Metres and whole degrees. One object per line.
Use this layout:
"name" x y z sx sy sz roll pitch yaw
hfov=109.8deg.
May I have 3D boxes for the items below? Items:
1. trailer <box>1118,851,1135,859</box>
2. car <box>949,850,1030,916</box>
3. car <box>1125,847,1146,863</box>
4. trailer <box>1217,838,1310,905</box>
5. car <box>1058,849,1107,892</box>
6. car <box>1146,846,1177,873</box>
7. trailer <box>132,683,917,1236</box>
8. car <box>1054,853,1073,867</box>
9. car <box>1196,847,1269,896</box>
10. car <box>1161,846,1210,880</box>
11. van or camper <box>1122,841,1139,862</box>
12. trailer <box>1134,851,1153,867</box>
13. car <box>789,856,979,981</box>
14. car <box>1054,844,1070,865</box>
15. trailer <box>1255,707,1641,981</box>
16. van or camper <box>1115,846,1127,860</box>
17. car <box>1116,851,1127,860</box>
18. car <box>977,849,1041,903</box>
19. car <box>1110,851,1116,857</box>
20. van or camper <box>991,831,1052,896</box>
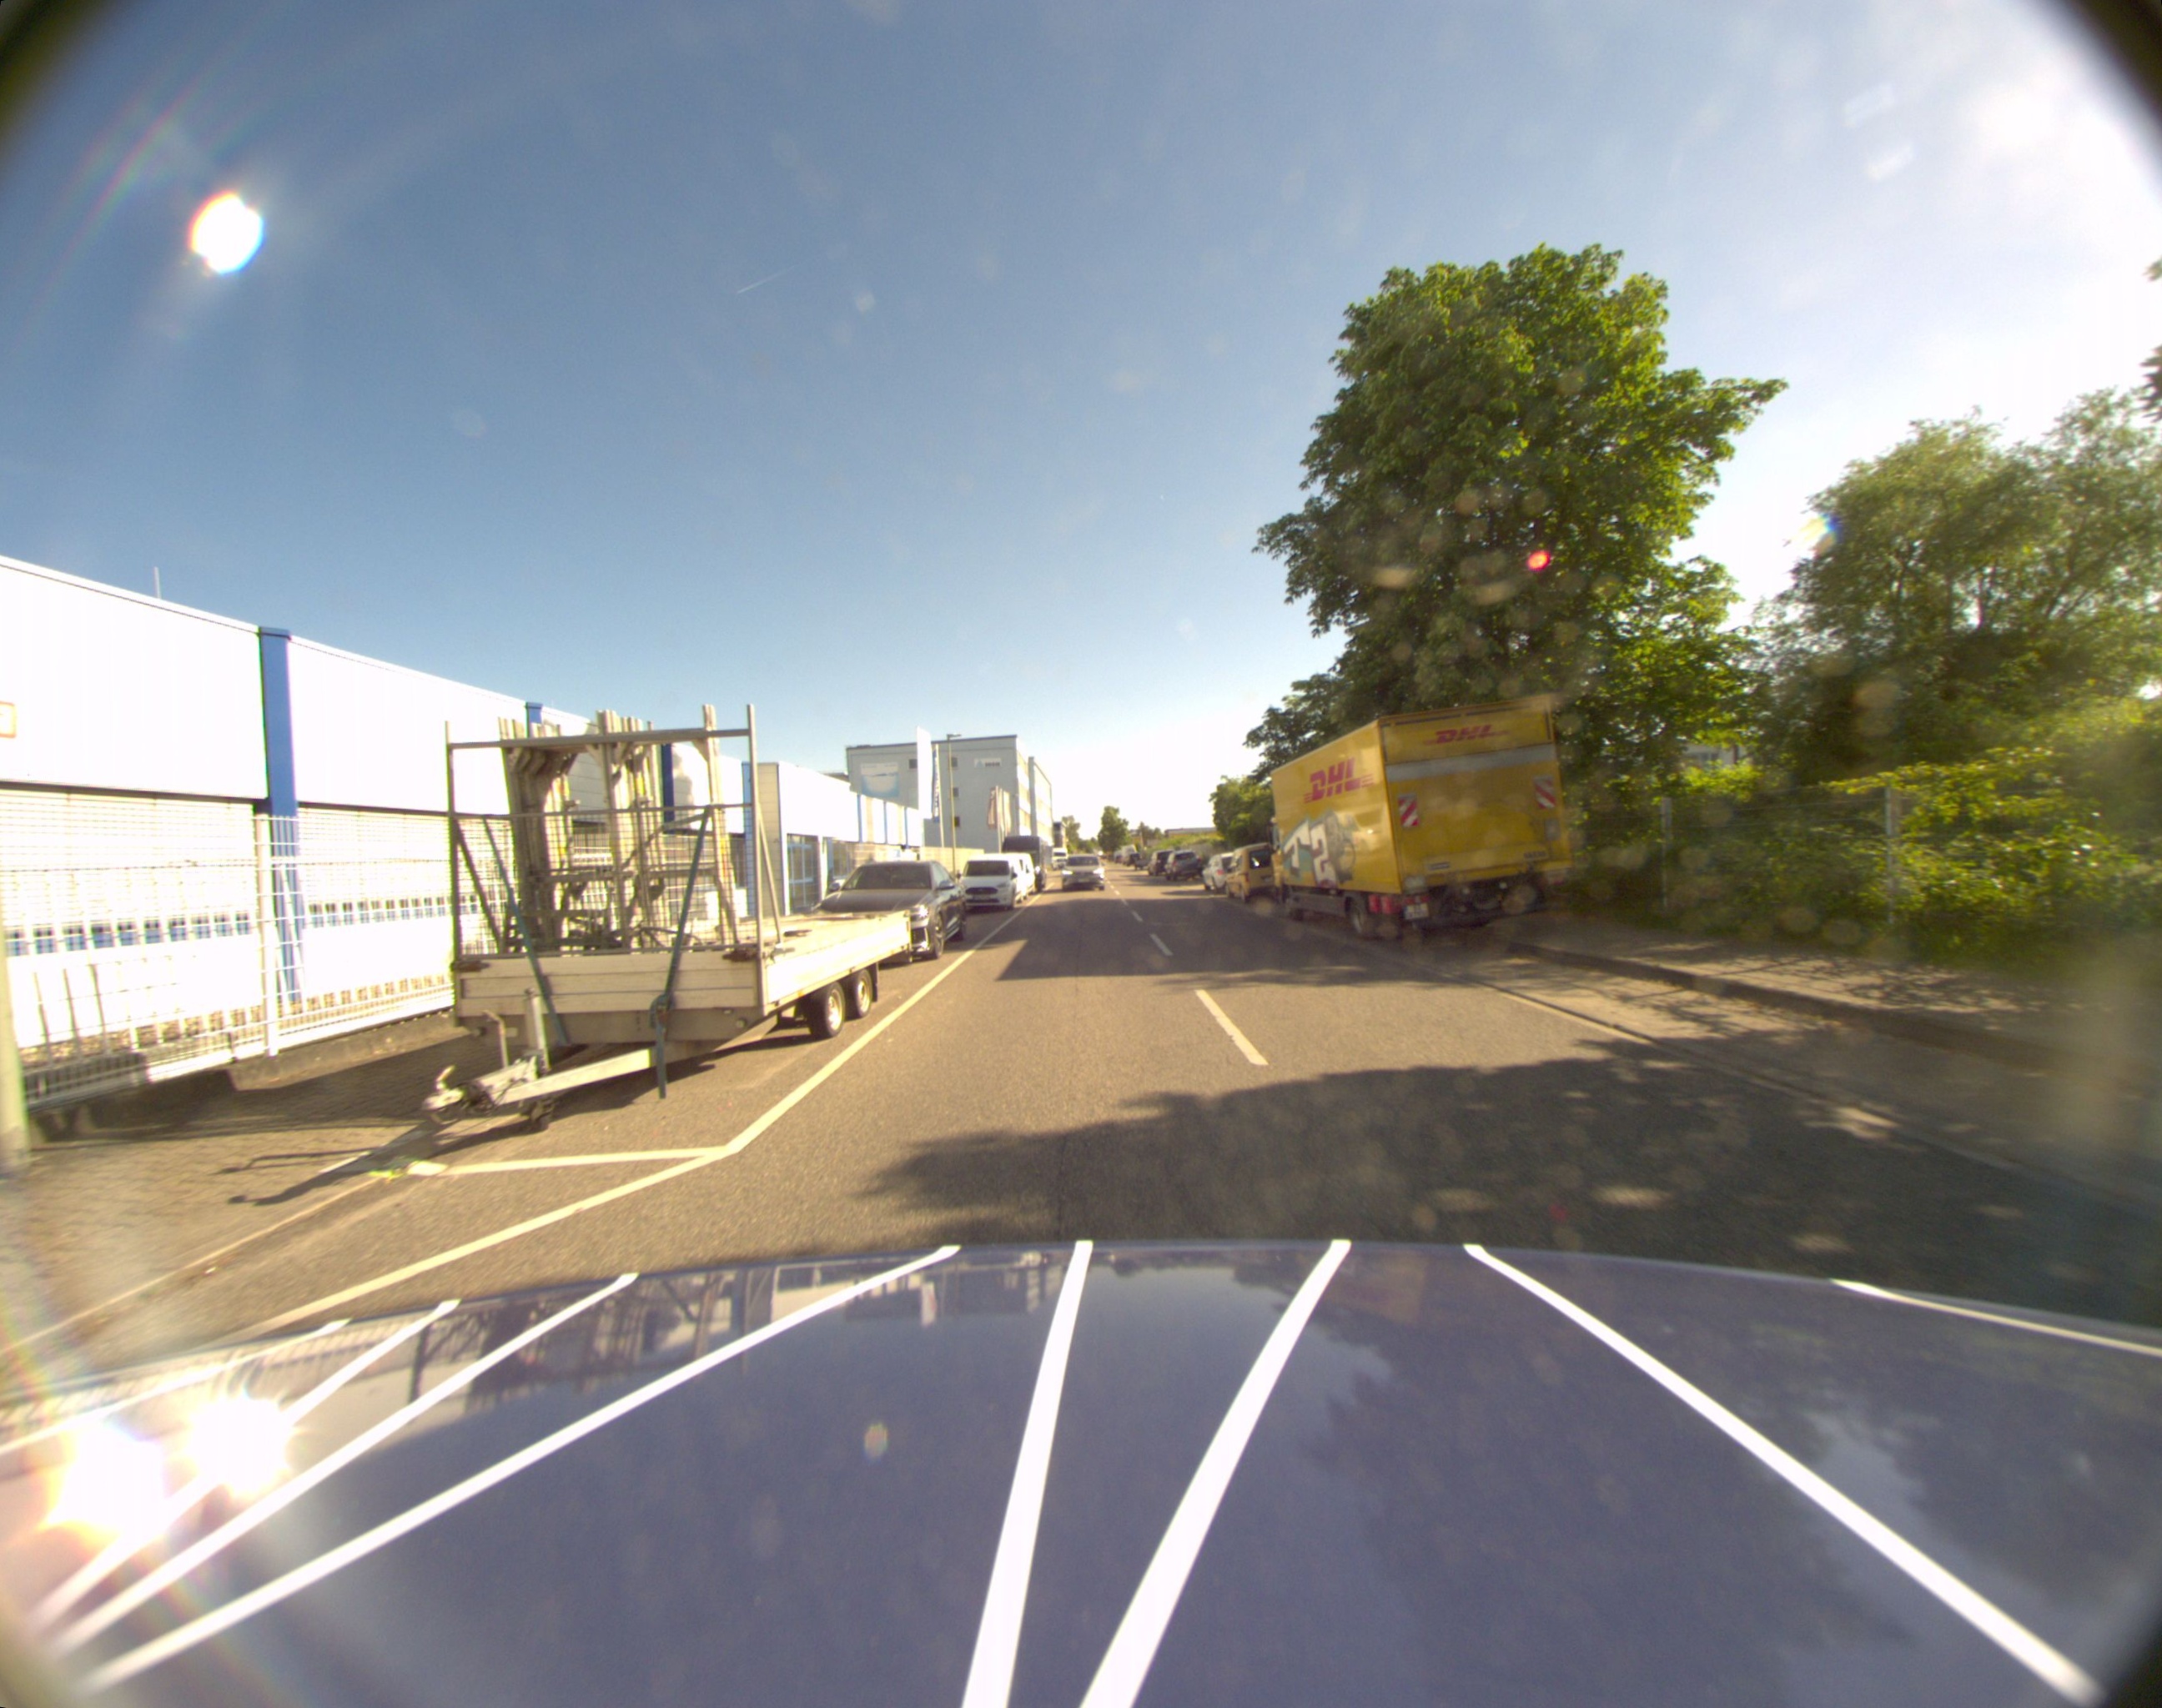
"trailer" 7.566 0.201 126.095 2.382 1.073 6.246 -6 -1 1
"car" -2.918 0.861 25.405 1.860 1.820 5.167 -4 1 1
"car" 6.759 0.129 94.206 2.035 1.684 5.106 -6 0 0
"trailer" 5.821 0.508 24.812 1.998 1.930 4.415 -2 1 1
"car" 0.082 0.687 34.698 1.998 1.750 5.015 -3 0 1
"car" 5.721 0.384 54.328 1.796 1.721 4.802 -4 0 2
"trailer" -3.364 0.513 6.615 2.466 2.657 5.701 -2 1 1
"car" -1.942 0.679 87.426 1.899 1.397 5.123 -4 1 1
"car" 5.999 0.635 30.739 1.912 1.584 5.025 -7 0 2
"car" 5.989 0.486 44.112 1.913 1.653 4.463 -7 0 -2
"van or camper" 6.914 -0.333 107.055 1.971 2.669 5.948 -7 0 3
"trailer" 5.981 0.477 72.992 1.480 1.346 3.078 -4 0 1
"car" -3.252 0.973 13.673 1.999 1.658 4.731 -4 1 1
"car" -2.454 0.127 99.155 1.998 2.582 6.051 0 -1 0
"trailer" 5.686 -0.153 13.894 2.999 3.423 8.160 -2 0 0
"van or camper" 8.218 -0.147 156.235 2.075 2.534 6.404 -6 0 1
"car" 7.663 0.355 145.416 1.804 1.501 5.003 -6 0 2
"car" -2.810 0.815 30.646 1.890 1.836 5.103 -4 1 1
"car" 9.619 0.022 228.297 1.779 1.838 4.616 -4 0 4
"van or camper" -2.754 0.370 36.633 2.146 2.743 6.160 -4 1 1
